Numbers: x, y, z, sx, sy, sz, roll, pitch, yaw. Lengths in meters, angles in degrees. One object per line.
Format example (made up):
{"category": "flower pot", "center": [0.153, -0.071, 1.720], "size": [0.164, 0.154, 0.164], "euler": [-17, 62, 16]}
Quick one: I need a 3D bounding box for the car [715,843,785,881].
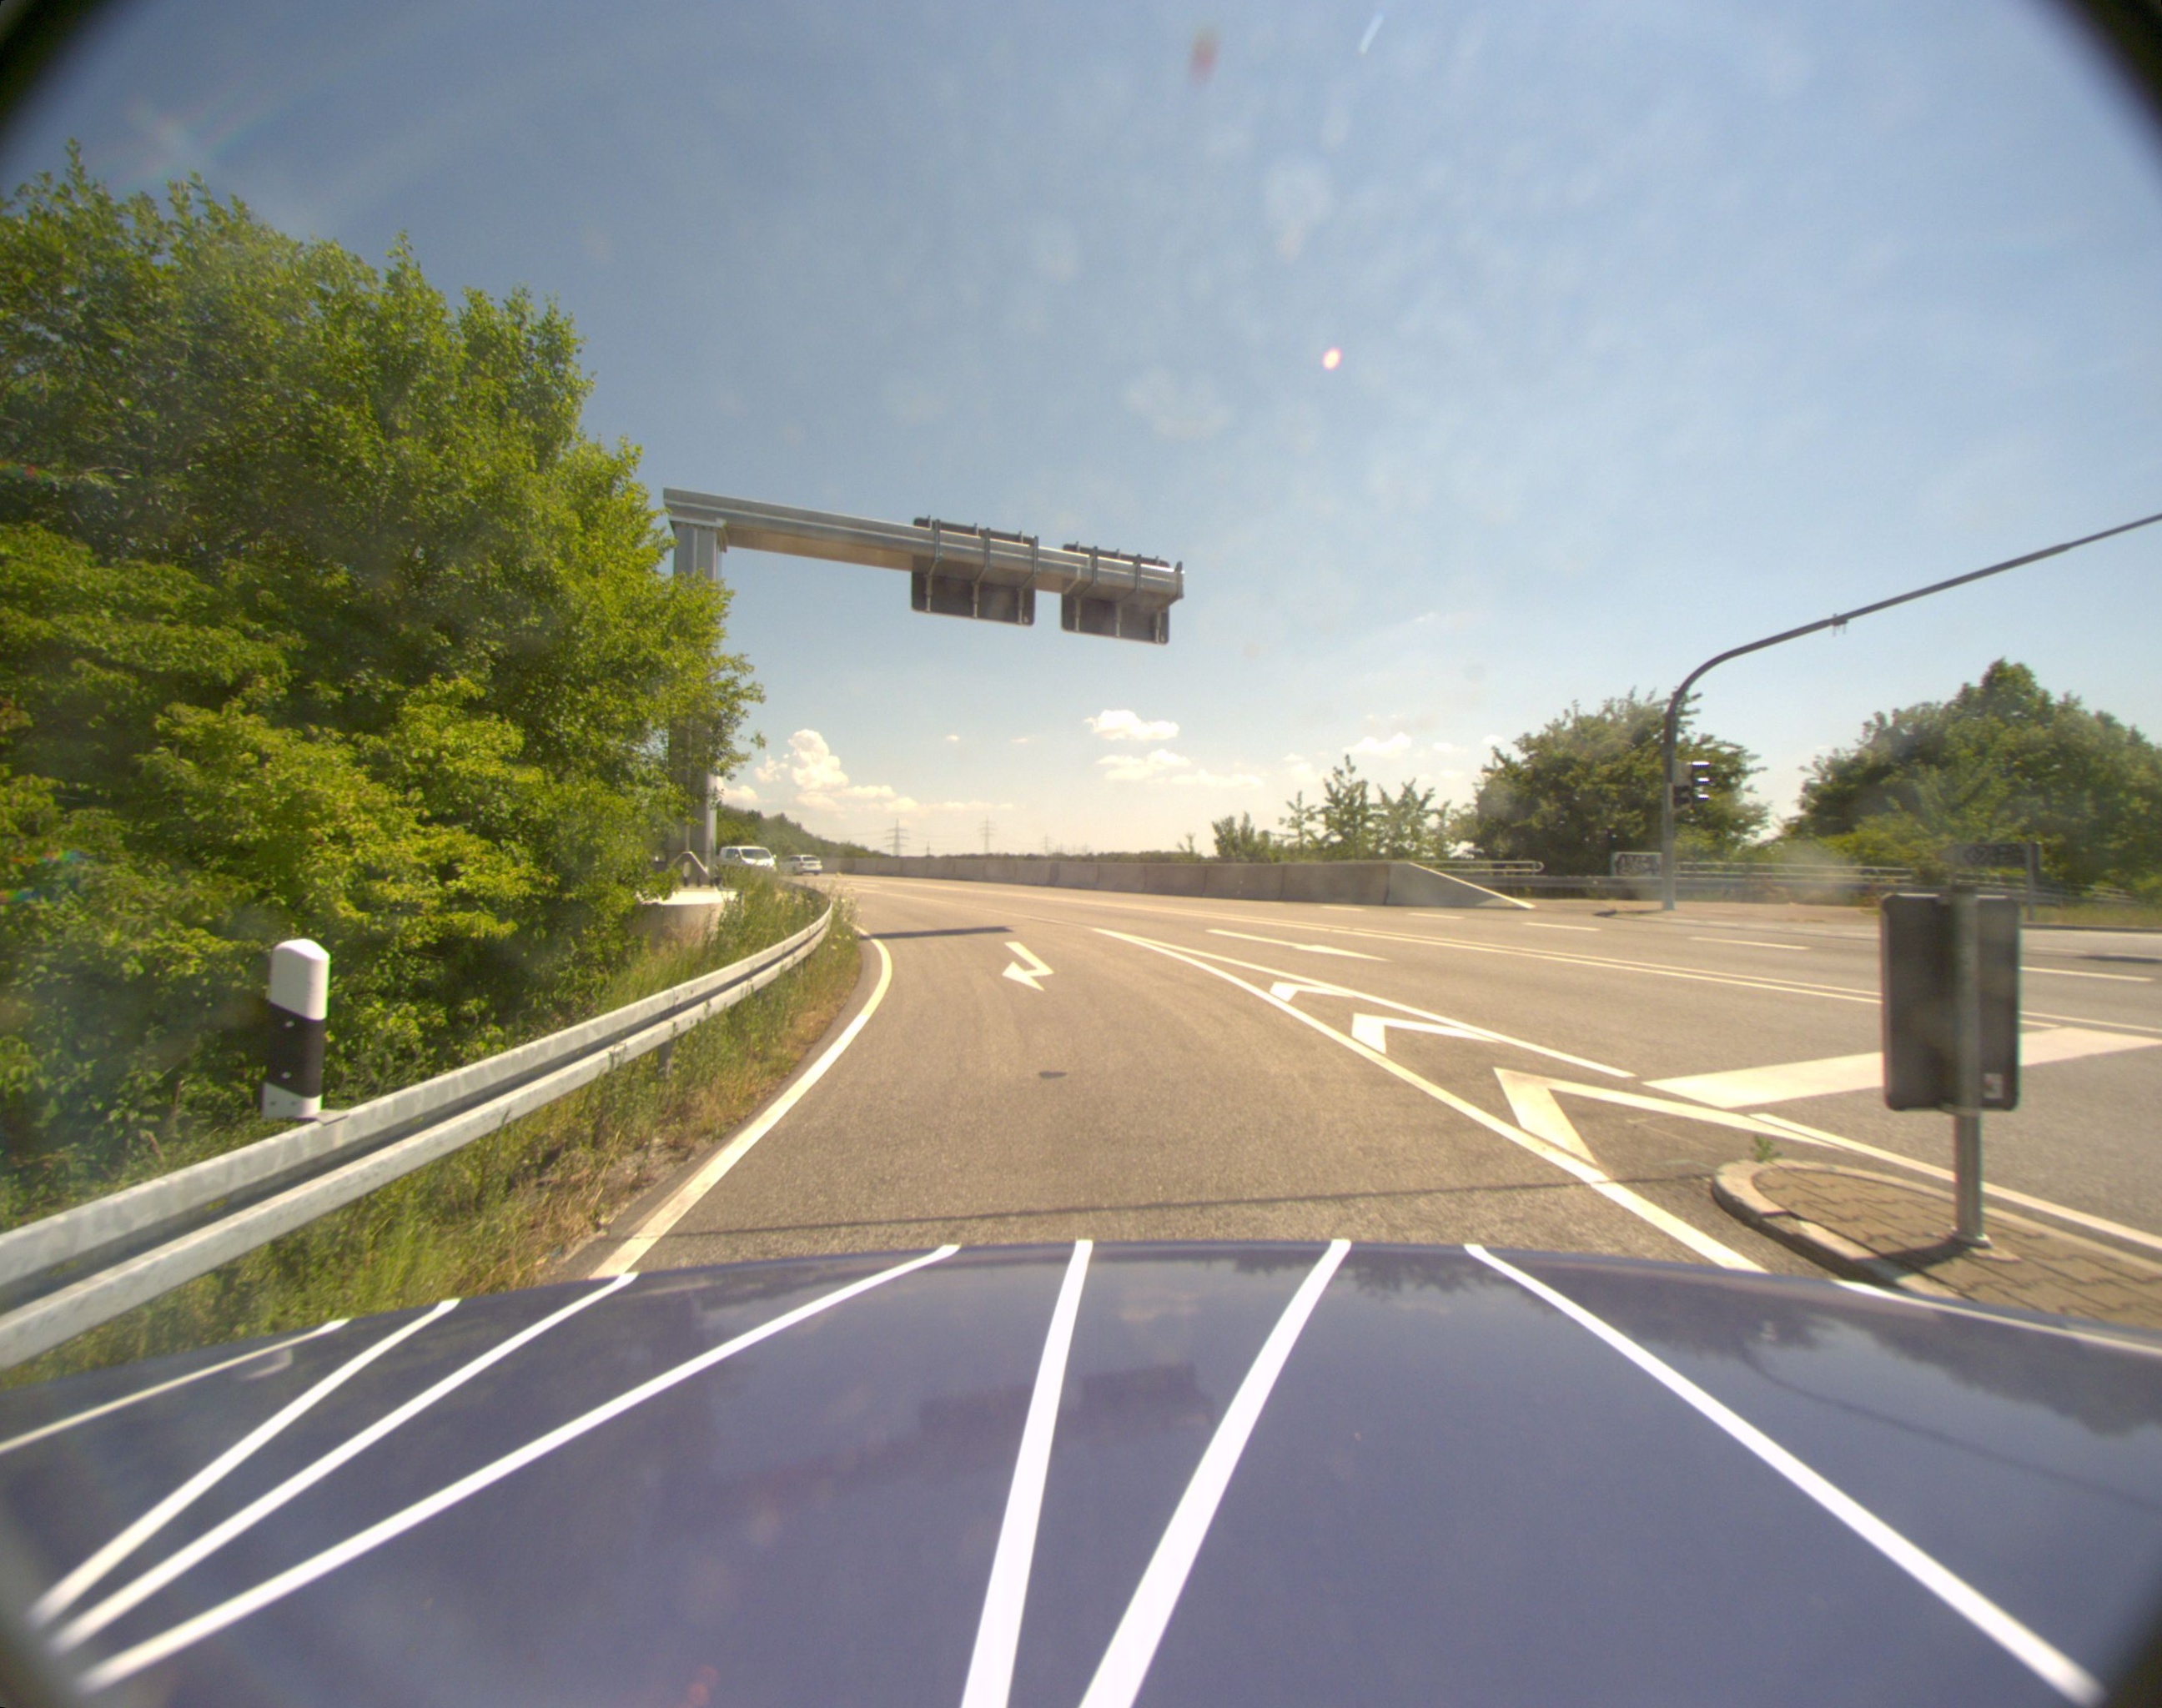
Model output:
{"category": "car", "center": [-19.435, 0.485, 44.449], "size": [2.036, 2.072, 5.856], "euler": [-1, 0, -41]}

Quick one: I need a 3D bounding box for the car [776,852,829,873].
{"category": "car", "center": [-20.153, 0.609, 54.817], "size": [4.538, 1.486, 1.797], "euler": [0, 0, 44]}
